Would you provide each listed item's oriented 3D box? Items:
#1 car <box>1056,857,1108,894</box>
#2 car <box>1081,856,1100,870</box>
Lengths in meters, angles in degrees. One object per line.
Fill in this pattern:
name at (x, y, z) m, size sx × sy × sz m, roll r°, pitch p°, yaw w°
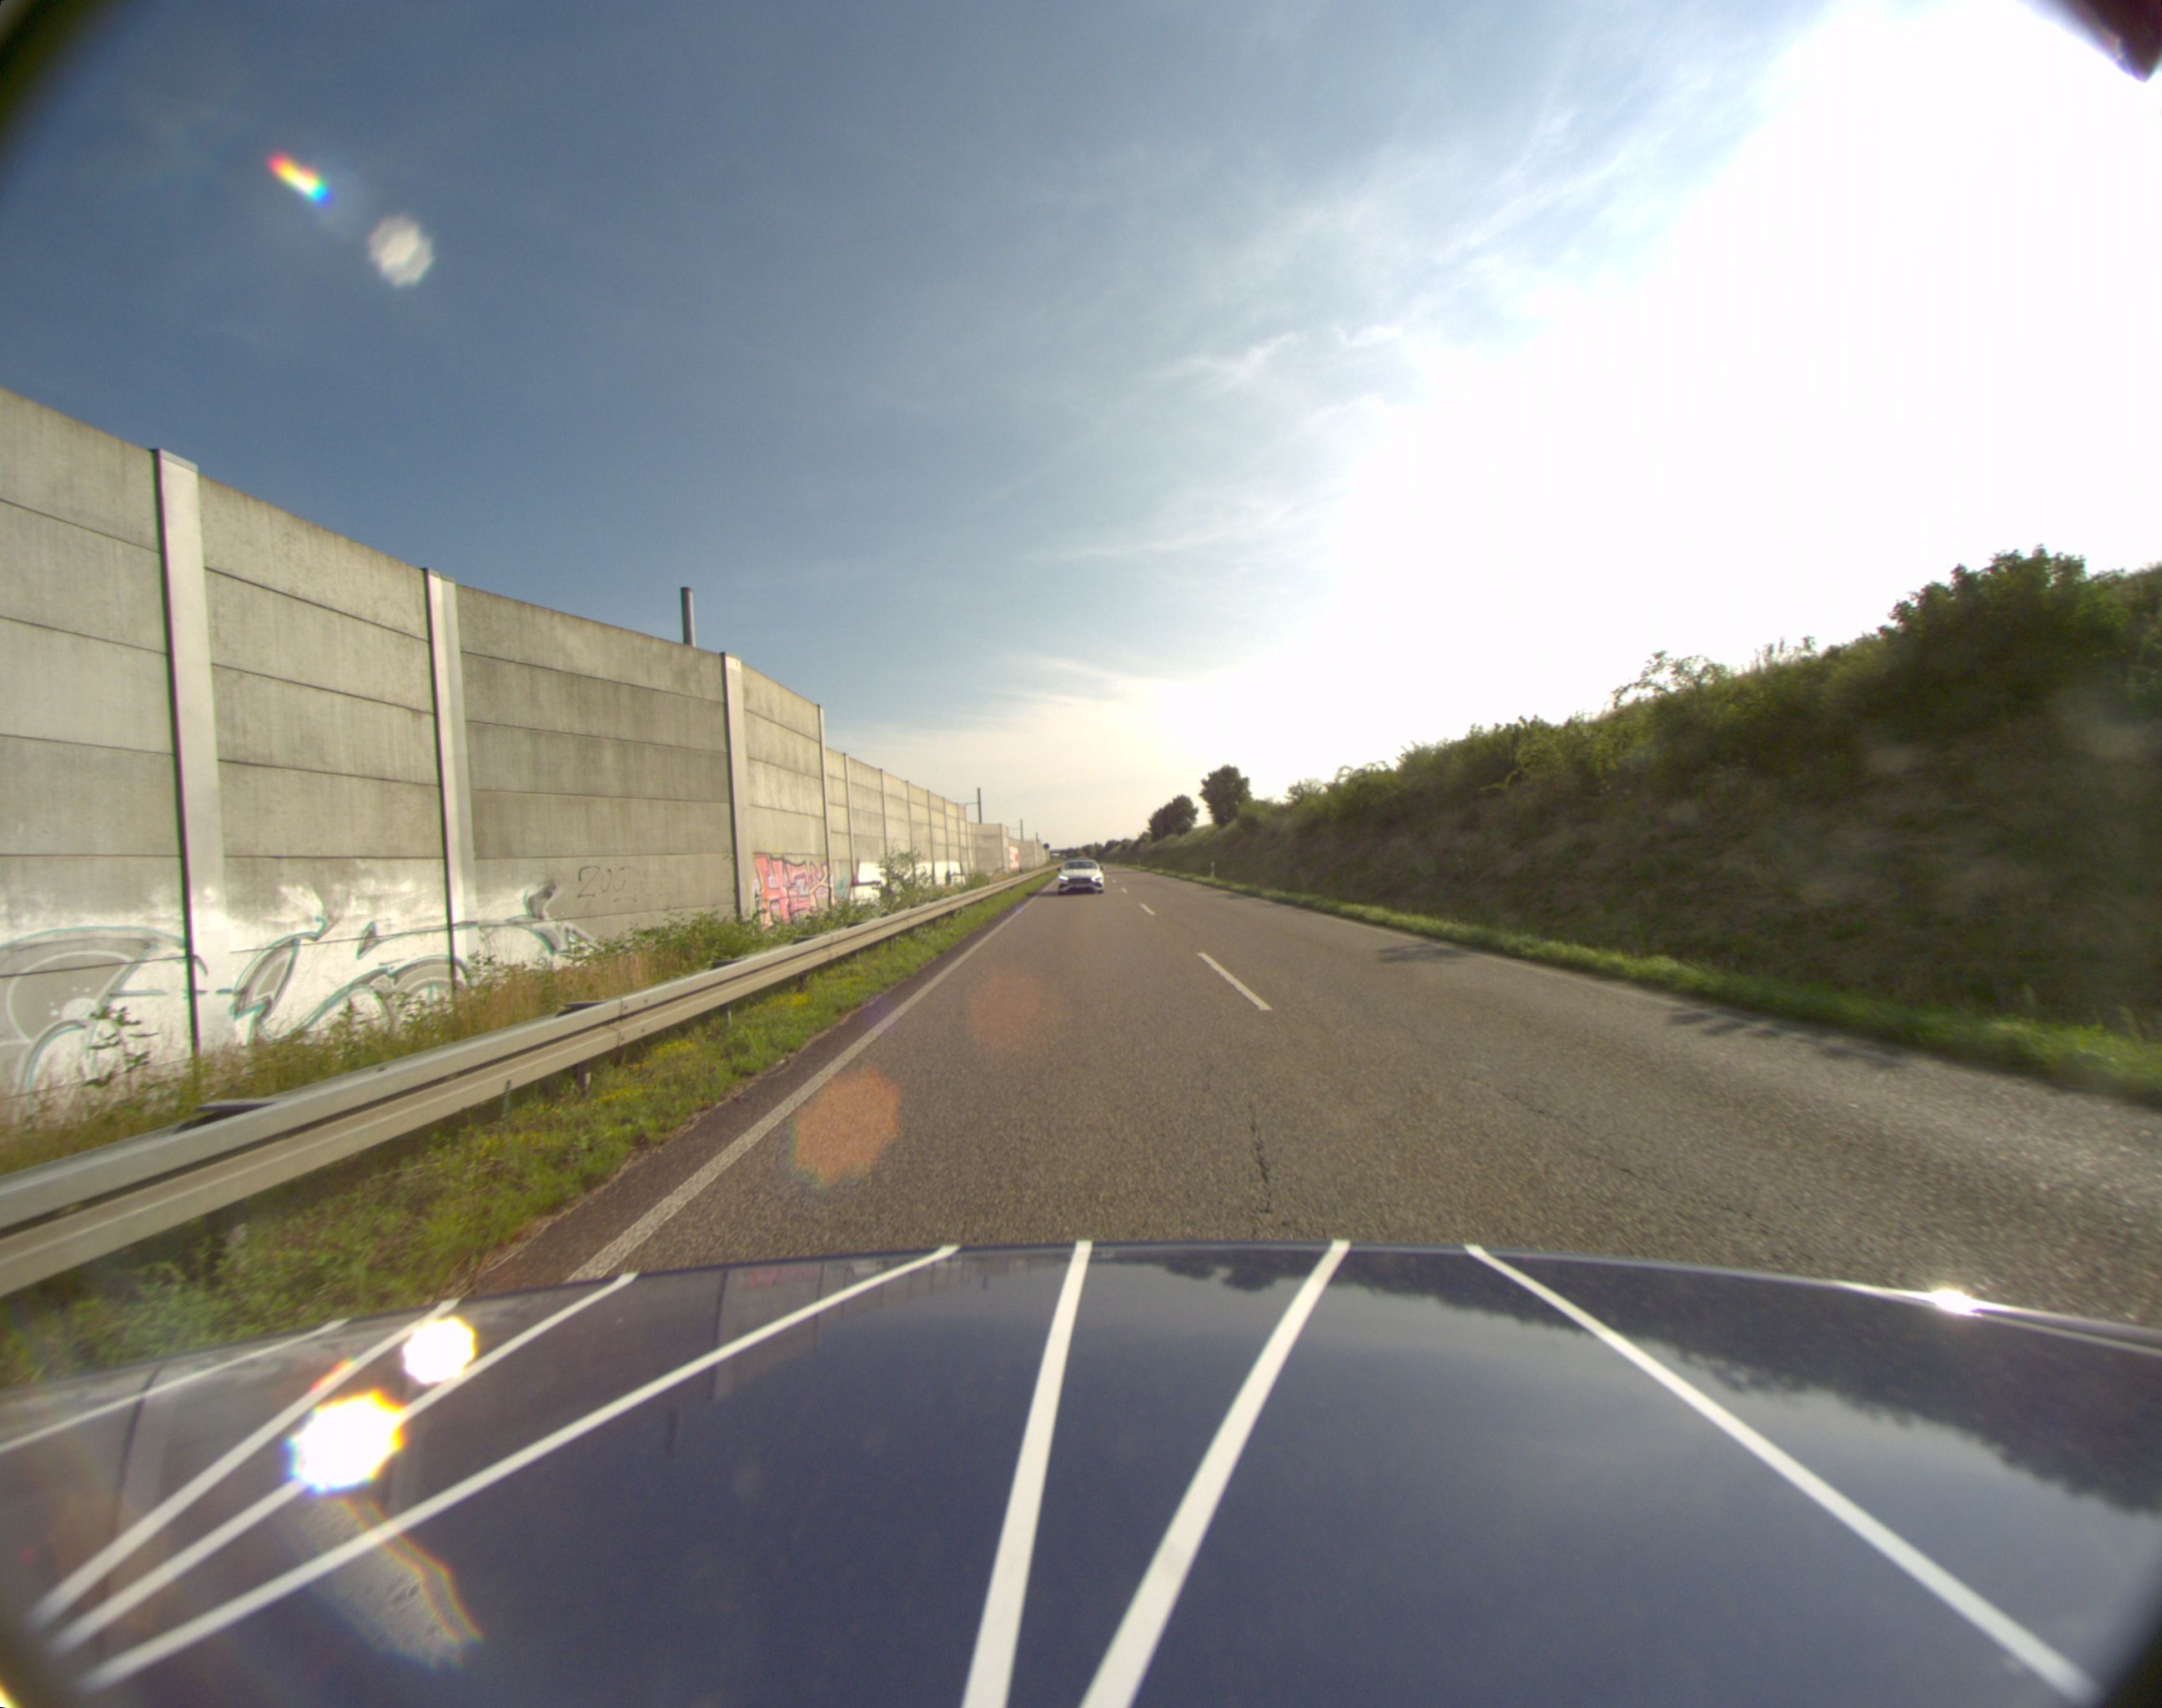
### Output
car at (-0.046, 0.885, 32.780) m, size 1.930 × 1.398 × 4.973 m, roll -3°, pitch 0°, yaw -3°
car at (0.946, 0.932, 80.787) m, size 1.930 × 1.399 × 4.973 m, roll -1°, pitch 0°, yaw 0°
